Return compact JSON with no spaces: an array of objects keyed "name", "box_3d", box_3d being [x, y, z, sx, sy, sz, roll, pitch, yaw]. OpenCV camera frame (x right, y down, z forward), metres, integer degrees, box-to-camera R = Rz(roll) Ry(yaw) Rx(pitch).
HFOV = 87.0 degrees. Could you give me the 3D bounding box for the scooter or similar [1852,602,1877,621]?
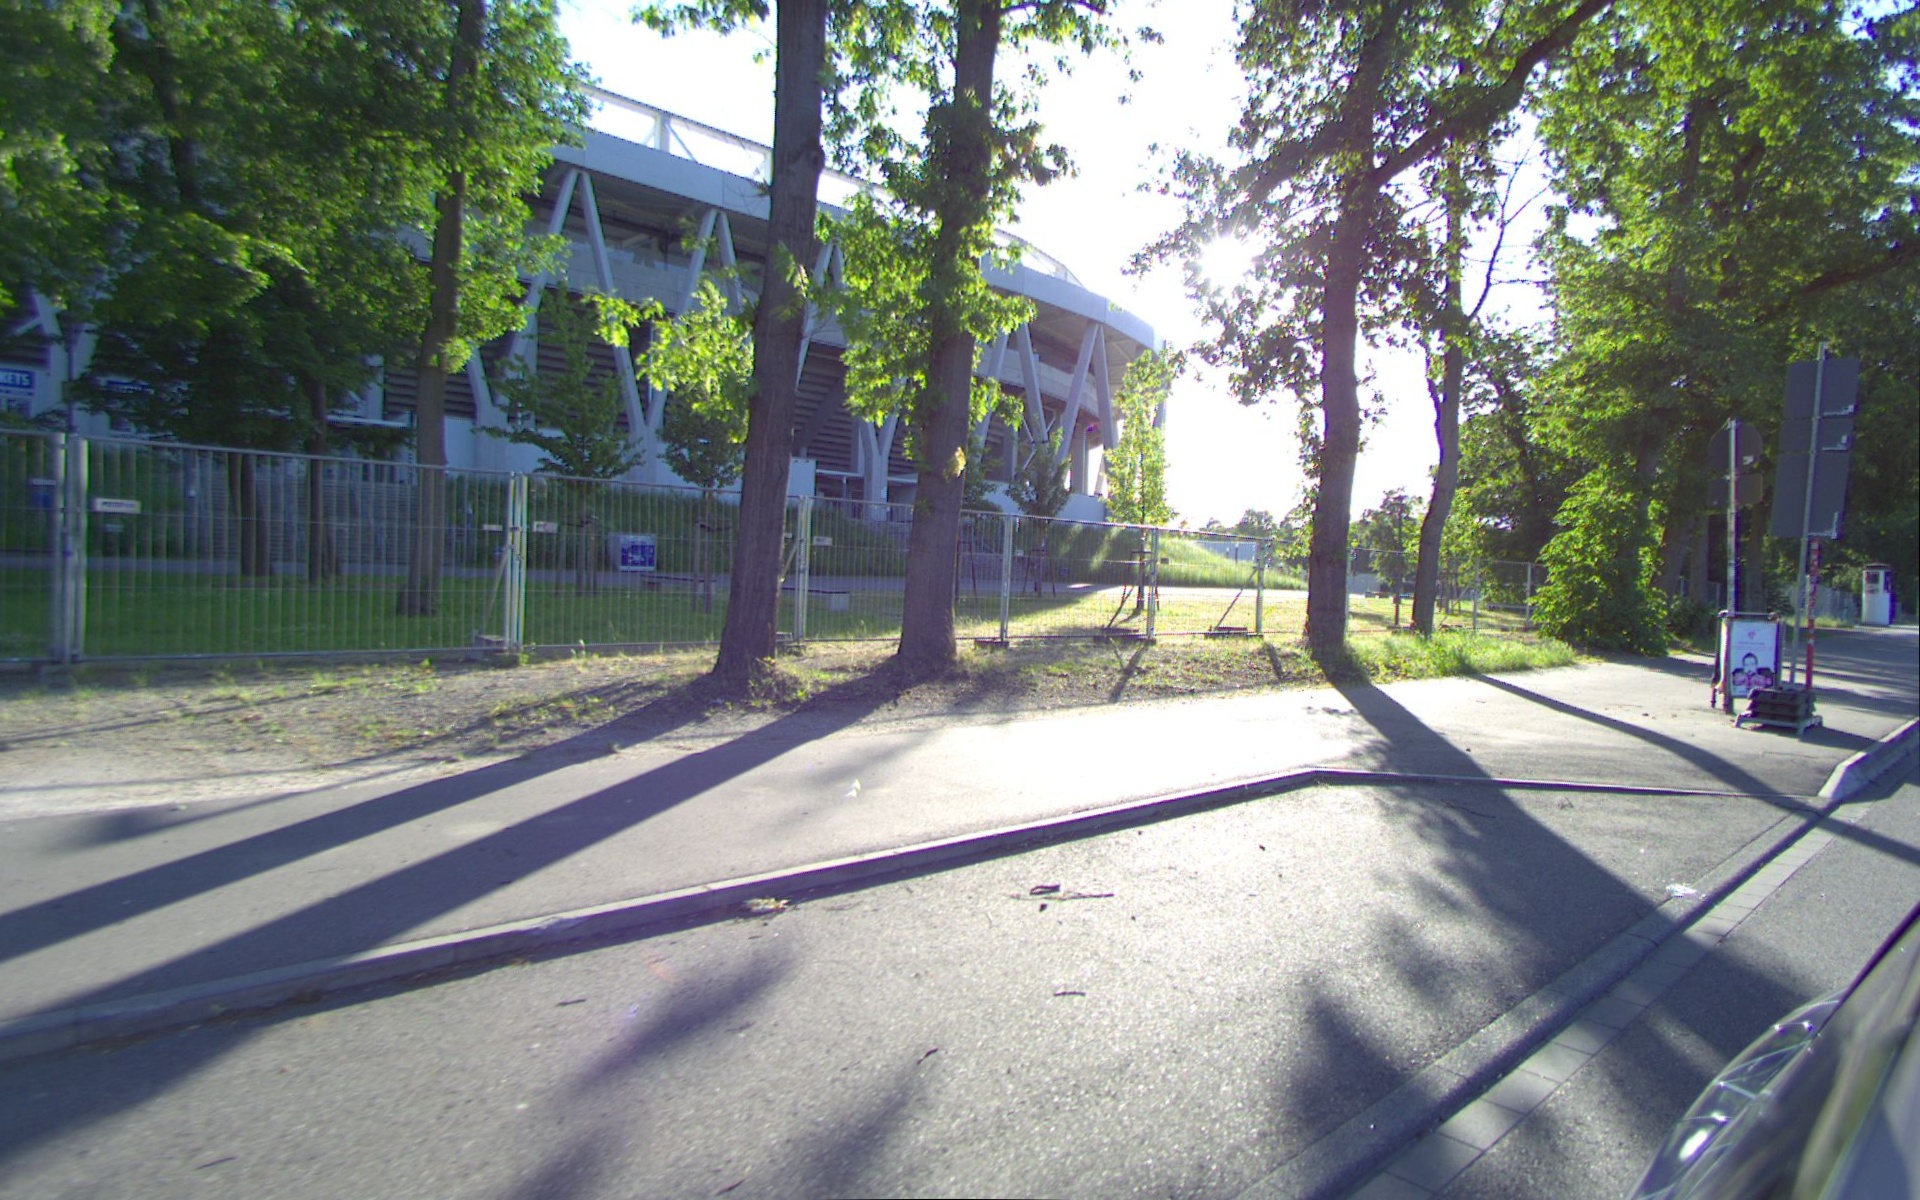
[{"name":"scooter or similar","box_3d":[64.849,0.836,72.569,1.281,1.253,0.334,2,1,13]}]
